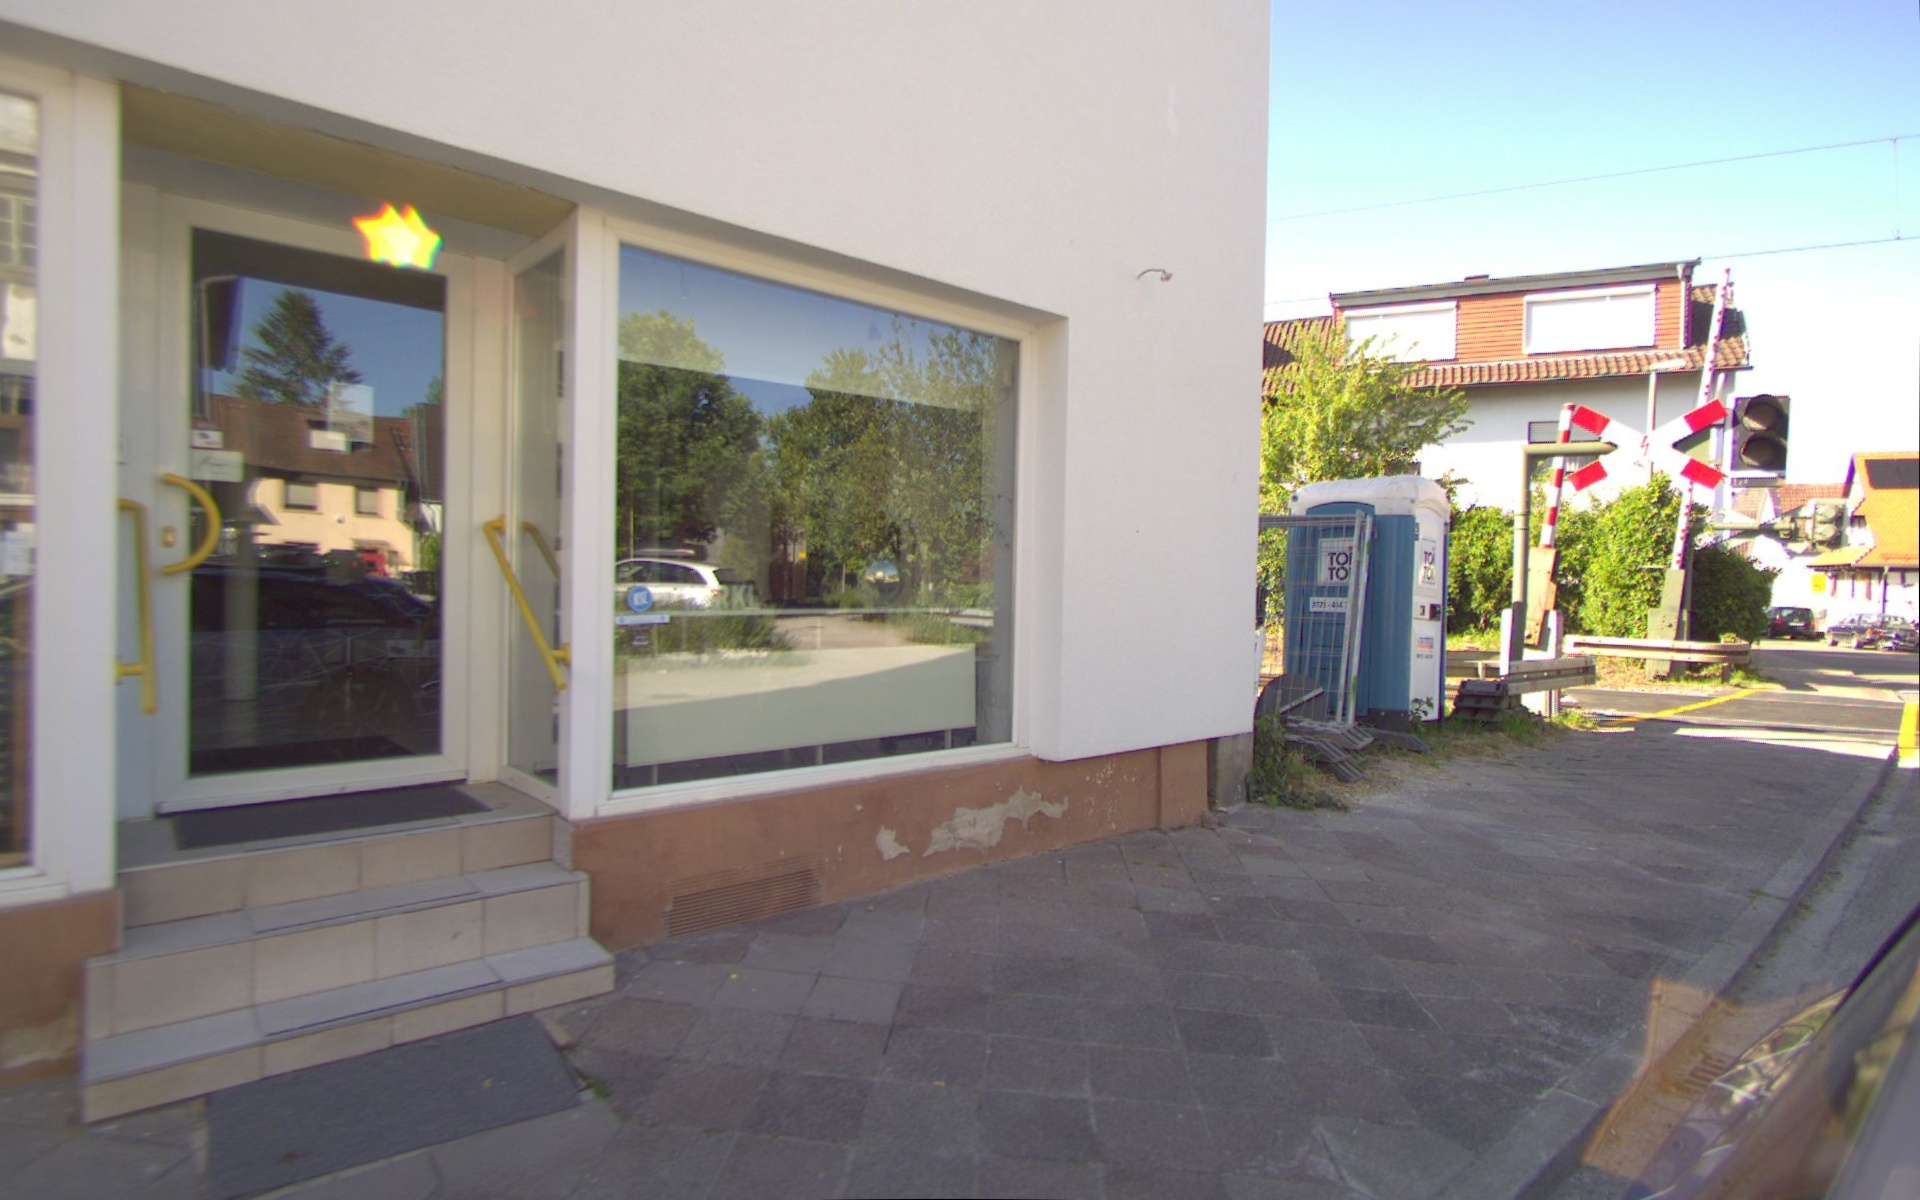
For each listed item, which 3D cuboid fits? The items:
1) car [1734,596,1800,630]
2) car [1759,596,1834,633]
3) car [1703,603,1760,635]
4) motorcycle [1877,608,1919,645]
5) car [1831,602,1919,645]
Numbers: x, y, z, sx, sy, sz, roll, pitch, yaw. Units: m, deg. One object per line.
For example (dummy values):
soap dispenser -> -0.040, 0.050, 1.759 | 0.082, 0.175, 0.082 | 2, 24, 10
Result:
car -> 42.925, 0.649, 53.928 | 1.805, 1.586, 4.130 | 3, 2, 26
car -> 40.607, 0.664, 49.215 | 1.772, 1.624, 4.321 | 3, 2, 26
car -> 45.685, 1.085, 60.038 | 1.729, 1.633, 3.968 | 3, 2, 24
motorcycle -> 34.050, 0.956, 35.998 | 0.613, 1.247, 1.999 | 2, 1, -19
car -> 35.741, 0.882, 39.146 | 1.833, 1.423, 4.991 | 4, 3, 26
